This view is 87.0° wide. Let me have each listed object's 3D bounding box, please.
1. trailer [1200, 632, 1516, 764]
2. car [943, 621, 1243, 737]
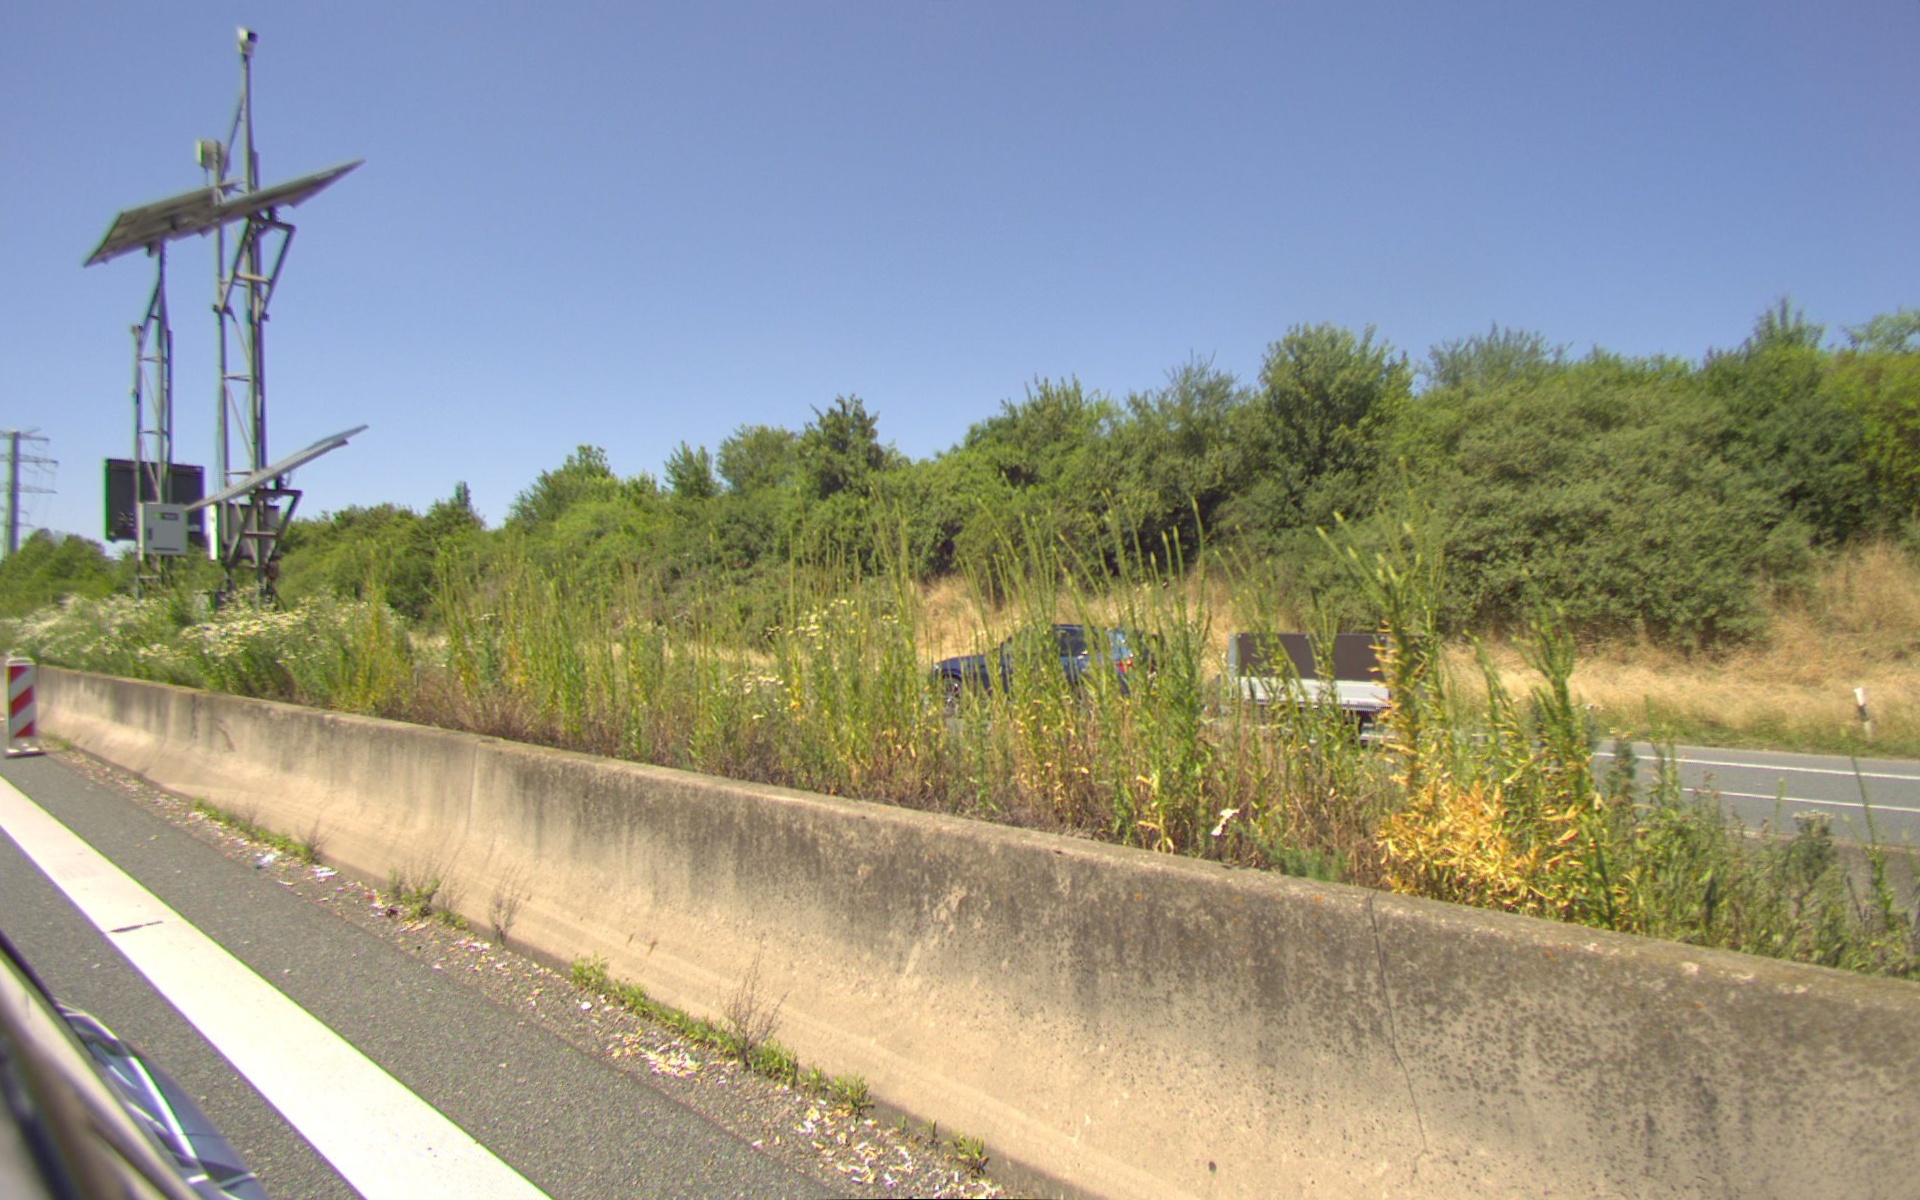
[{"bbox_3d":[5.399,1.247,13.998,3.777,1.564,1.552,-1,-4,41],"label":"trailer"},{"bbox_3d":[2.102,1.226,16.794,4.627,1.662,1.973,-1,-4,41],"label":"car"}]
